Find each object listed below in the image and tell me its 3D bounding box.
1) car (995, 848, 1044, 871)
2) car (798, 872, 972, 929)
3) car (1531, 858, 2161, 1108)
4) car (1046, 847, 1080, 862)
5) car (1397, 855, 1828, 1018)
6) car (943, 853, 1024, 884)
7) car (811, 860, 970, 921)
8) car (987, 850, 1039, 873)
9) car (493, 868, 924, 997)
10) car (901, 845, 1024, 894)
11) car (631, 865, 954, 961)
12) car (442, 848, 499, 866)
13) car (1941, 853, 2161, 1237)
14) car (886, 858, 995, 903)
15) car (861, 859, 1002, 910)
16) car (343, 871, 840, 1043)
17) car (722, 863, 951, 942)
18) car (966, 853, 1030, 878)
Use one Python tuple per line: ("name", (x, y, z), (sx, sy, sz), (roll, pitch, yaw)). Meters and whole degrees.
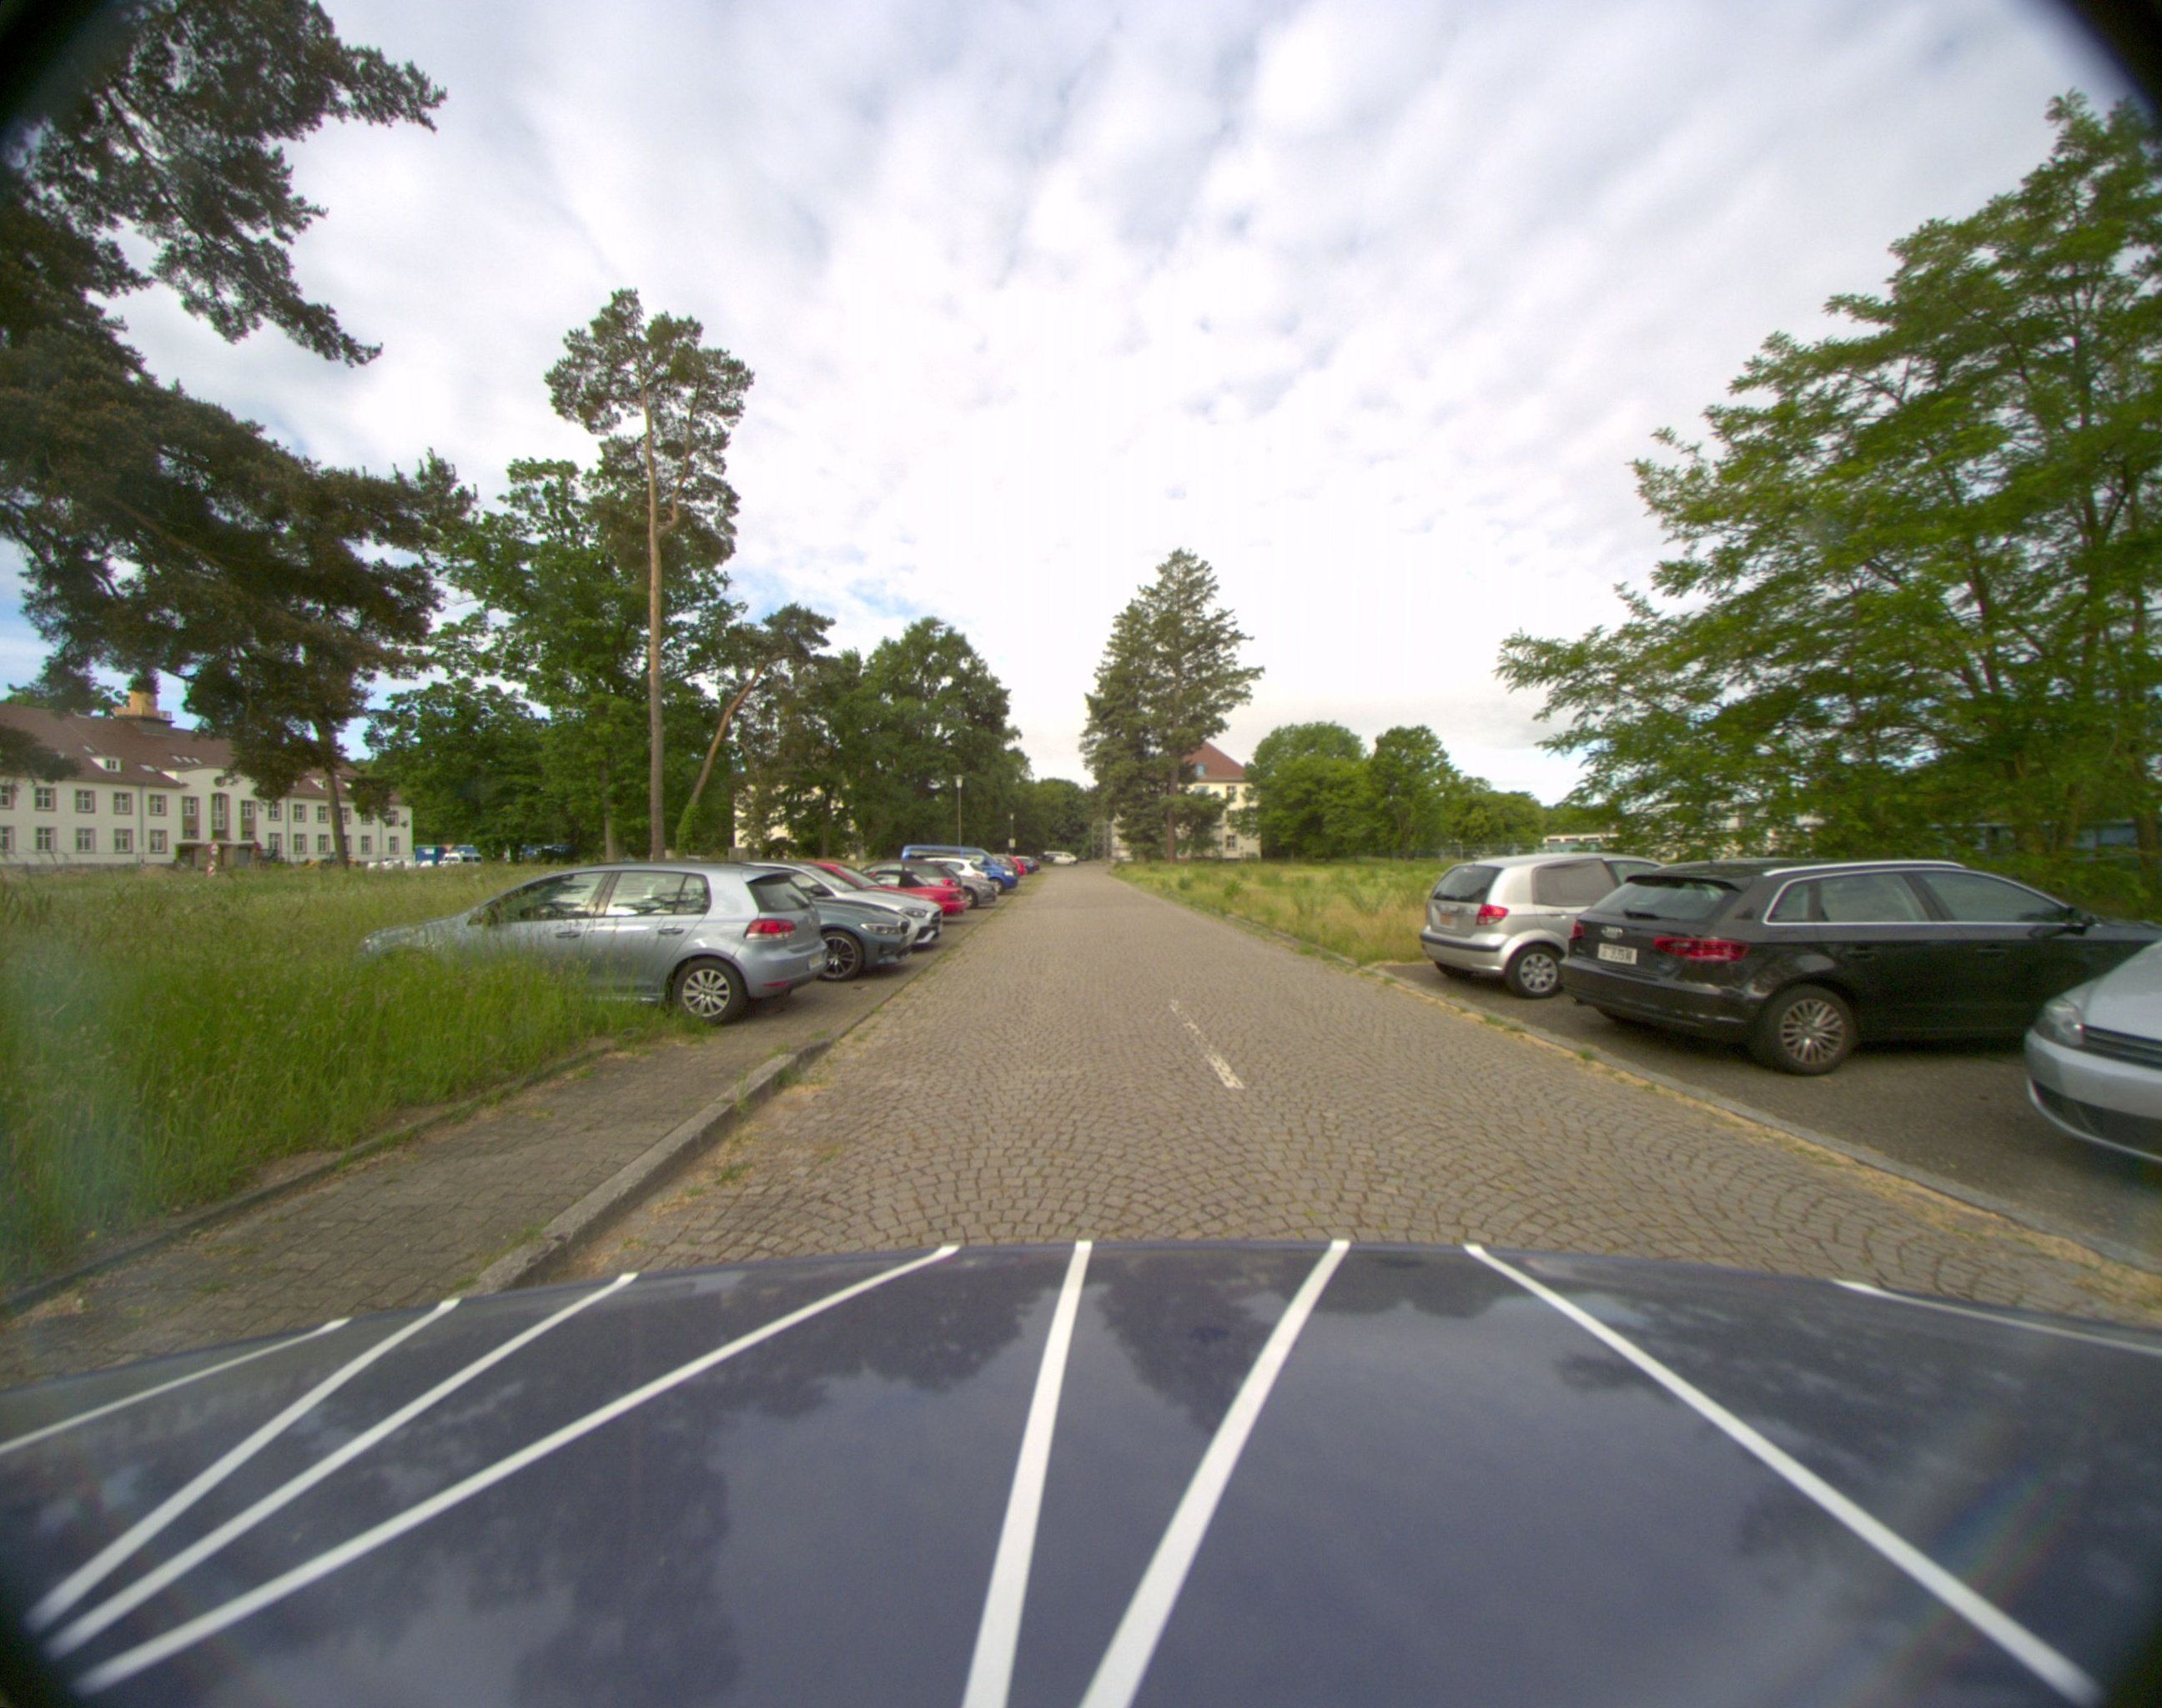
("car", (-5.227, 0.457, 65.161), (3.997, 2.002, 2.000), (0, 1, 0))
("car", (-4.407, 1.040, 17.448), (3.600, 1.200, 1.494), (0, 0, 0))
("car", (6.005, 0.847, 5.884), (3.998, 1.419, 1.750), (-3, 1, -2))
("car", (-2.677, 0.057, 114.074), (5.031, 2.164, 2.000), (0, 1, 1))
("car", (5.840, 0.822, 8.631), (3.689, 1.444, 1.807), (-3, 1, -5))
("car", (-5.111, 0.748, 40.187), (3.997, 1.601, 2.000), (0, 1, -1))
("car", (-4.931, 0.937, 20.114), (3.787, 1.497, 1.798), (0, 1, -3))
("car", (-5.406, 0.579, 60.762), (4.007, 1.752, 2.000), (0, 1, 0))
("car", (-4.609, 0.945, 10.020), (4.771, 1.474, 1.761), (0, 1, -4))
("car", (-4.784, 0.610, 31.250), (4.749, 1.928, 1.999), (1, 1, -1))
("car", (-4.682, 0.940, 12.881), (4.769, 1.474, 1.812), (0, 1, -1))
("car", (-69.524, 0.349, 86.669), (2.153, 2.002, 5.224), (0, 1, 2))
("car", (6.458, 0.734, 3.197), (3.999, 1.538, 1.723), (-3, 1, -5))
("car", (-4.715, 0.878, 25.829), (3.409, 1.444, 1.637), (0, 1, 0))
("car", (-4.444, 0.893, 23.010), (3.849, 1.448, 1.820), (0, 1, 1))
("car", (-4.507, 0.922, 7.420), (3.773, 1.418, 1.605), (1, 0, -2))
("car", (-4.727, 0.927, 15.143), (3.972, 1.444, 1.799), (0, 1, -1))
("car", (-5.489, 0.770, 50.513), (3.997, 1.521, 2.000), (-2, 1, -1))
